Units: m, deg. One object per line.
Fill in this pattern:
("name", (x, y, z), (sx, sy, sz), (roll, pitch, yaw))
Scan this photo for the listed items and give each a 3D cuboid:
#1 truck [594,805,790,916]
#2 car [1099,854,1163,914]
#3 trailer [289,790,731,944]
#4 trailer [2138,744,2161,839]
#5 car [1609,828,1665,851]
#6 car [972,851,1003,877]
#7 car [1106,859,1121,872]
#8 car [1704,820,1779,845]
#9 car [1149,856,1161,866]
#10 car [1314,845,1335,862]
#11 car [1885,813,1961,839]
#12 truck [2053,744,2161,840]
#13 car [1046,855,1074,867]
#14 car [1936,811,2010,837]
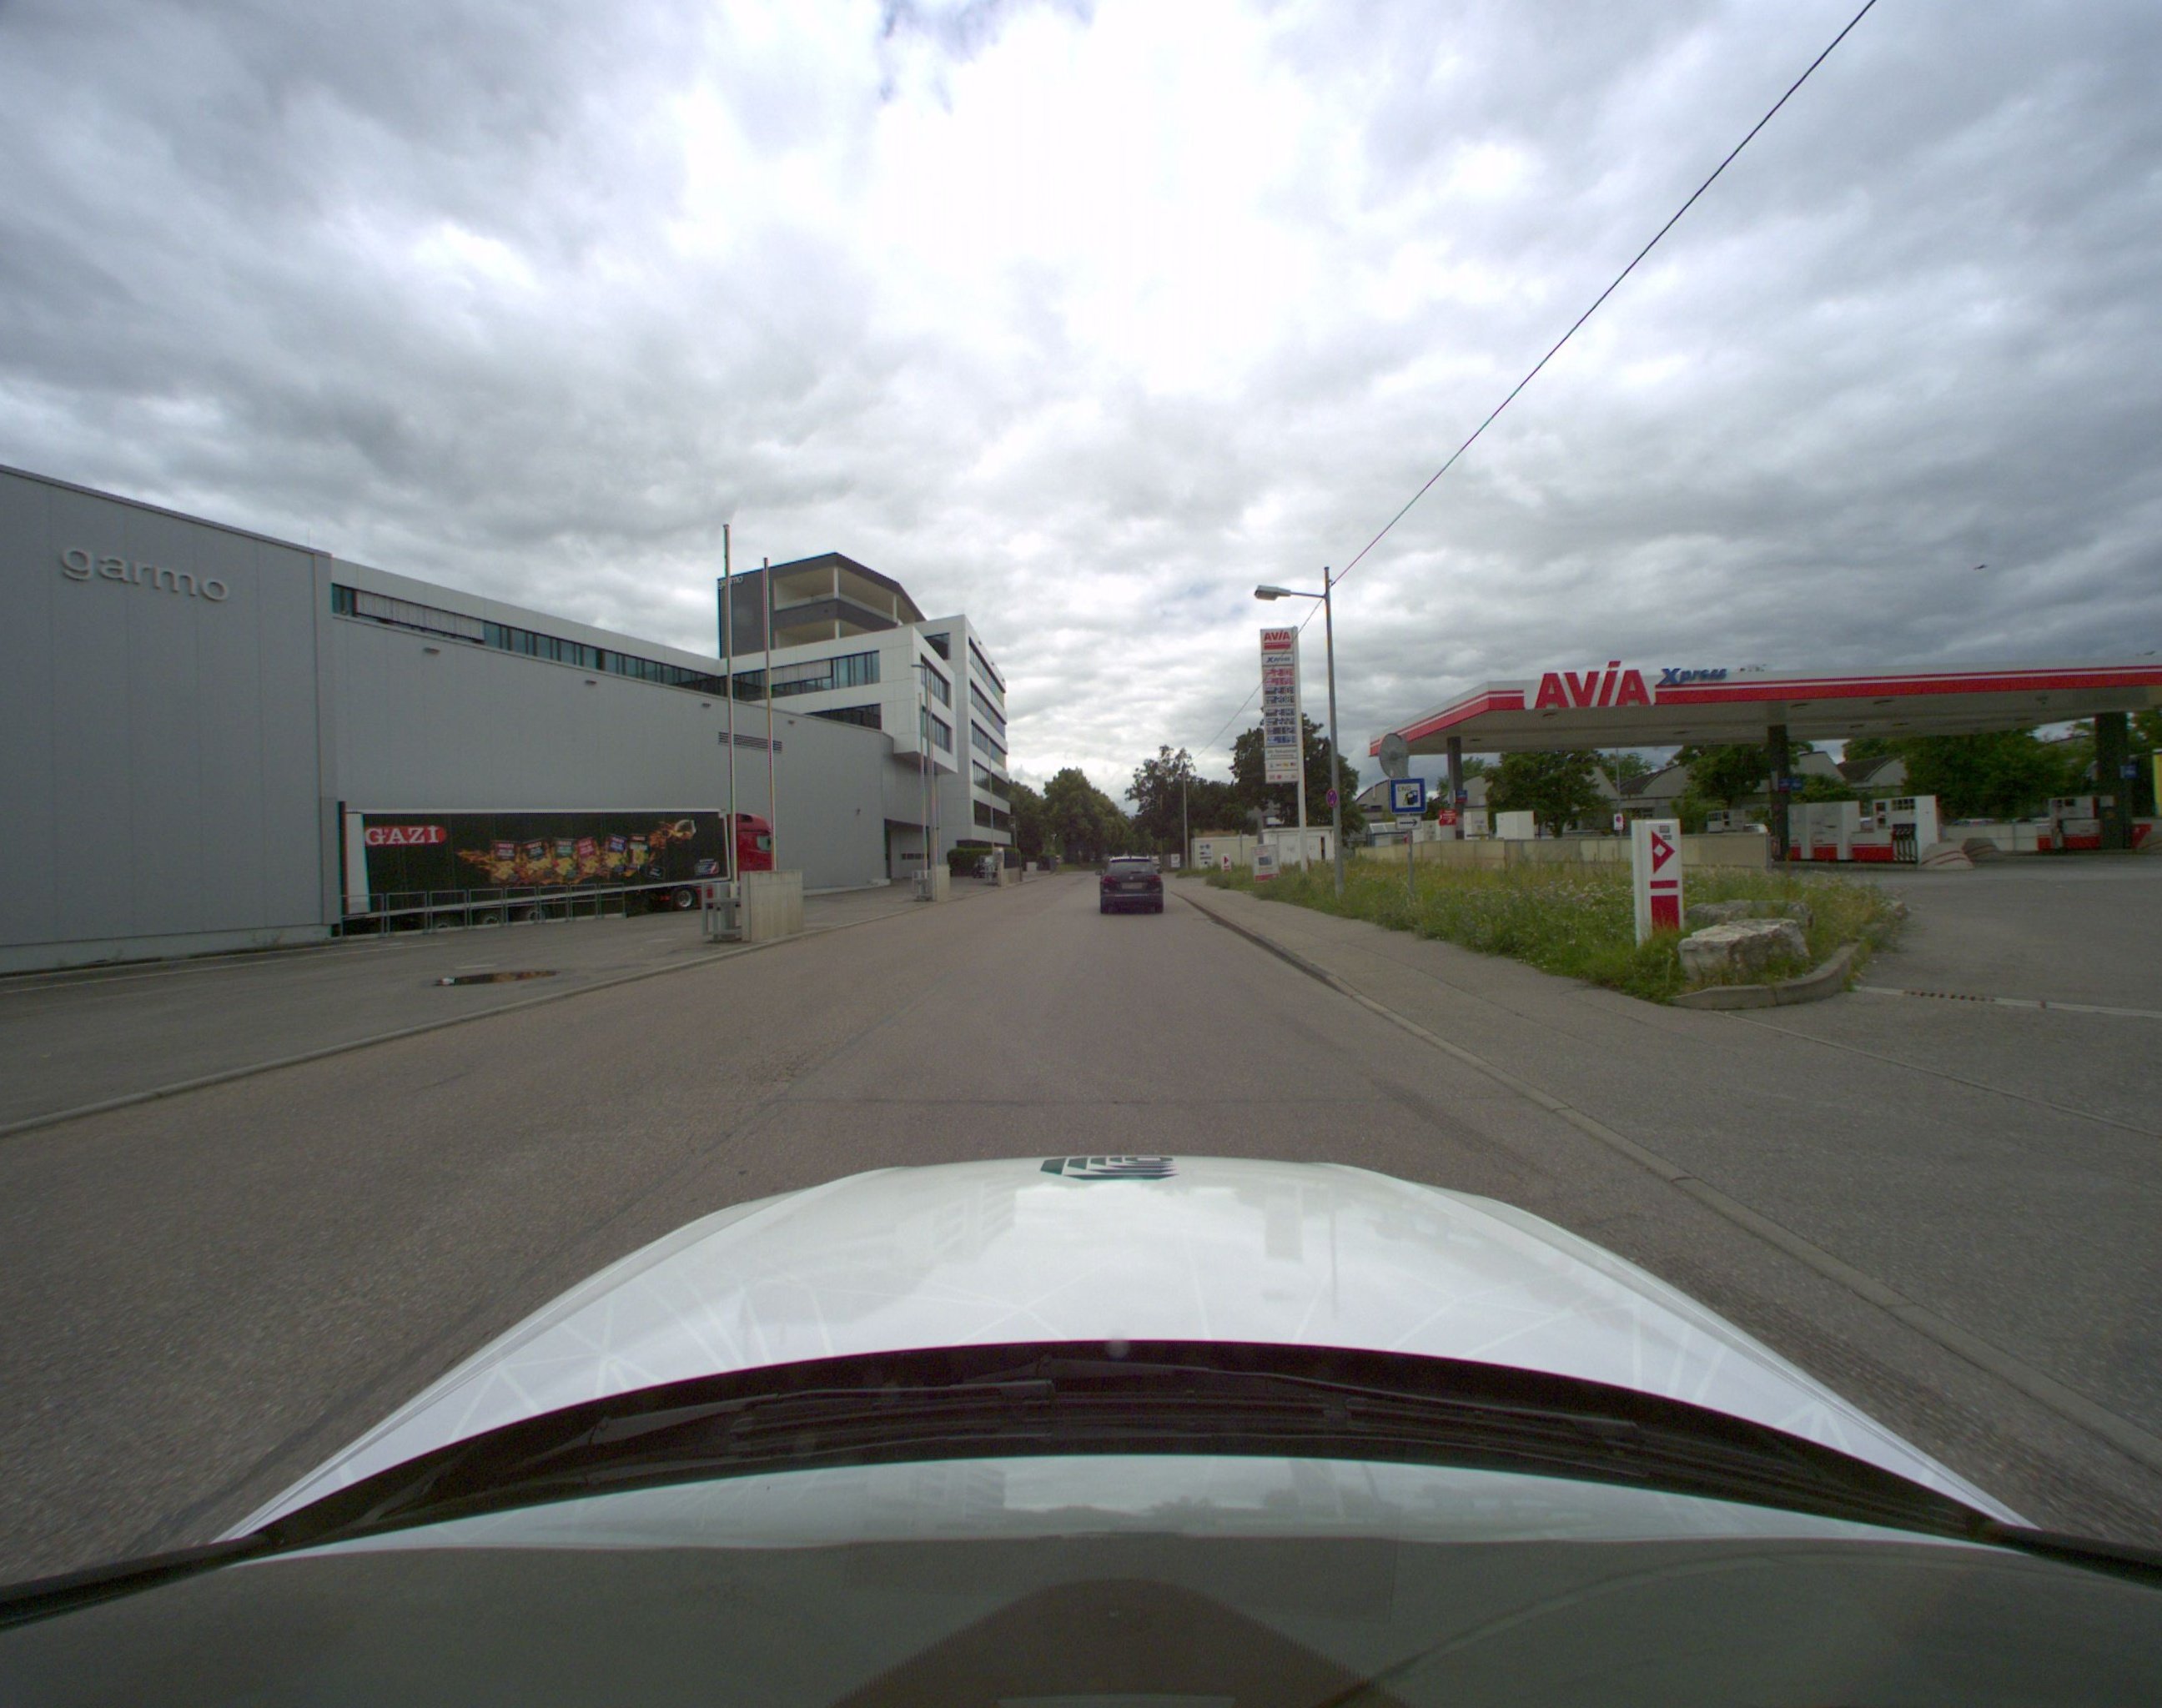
("truck", (-15.545, 0.233, 33.238), (2.718, 4.031, 7.131), (-2, 0, 23))
("car", (1.524, 0.850, 24.194), (1.731, 1.618, 3.645), (-1, -1, 5))
("trailer", (-17.920, 0.292, 27.610), (2.718, 4.031, 12.687), (-2, 0, 23))
("trailer", (46.169, -2.710, 27.314), (2.989, 3.915, 14.305), (-3, 0, 1))
("car", (42.174, -1.070, 61.870), (1.725, 1.530, 3.887), (-3, 0, 3))
("car", (-6.613, 0.705, 57.879), (1.643, 1.762, 3.182), (-1, 0, 4))
("car", (4.255, 1.456, 105.288), (1.832, 1.616, 4.002), (-2, 0, 2))
("car", (50.511, -1.623, 62.389), (1.955, 1.645, 4.655), (-3, -1, 1))
("car", (13.700, 1.377, 151.302), (1.982, 1.786, 4.009), (-1, -1, 8))
("car", (26.383, -0.063, 88.122), (1.977, 1.612, 4.462), (-3, 0, 18))
("car", (61.236, -2.000, 59.352), (2.076, 1.651, 4.993), (-3, -1, 24))
("truck", (46.338, -2.669, 34.538), (2.946, 3.915, 6.042), (-3, 0, 1))
("car", (-4.671, 1.653, 183.402), (6.042, 2.387, 2.398), (-2, 0, 4))
("car", (63.615, -2.085, 58.183), (1.885, 1.651, 4.423), (-3, -1, 24))
